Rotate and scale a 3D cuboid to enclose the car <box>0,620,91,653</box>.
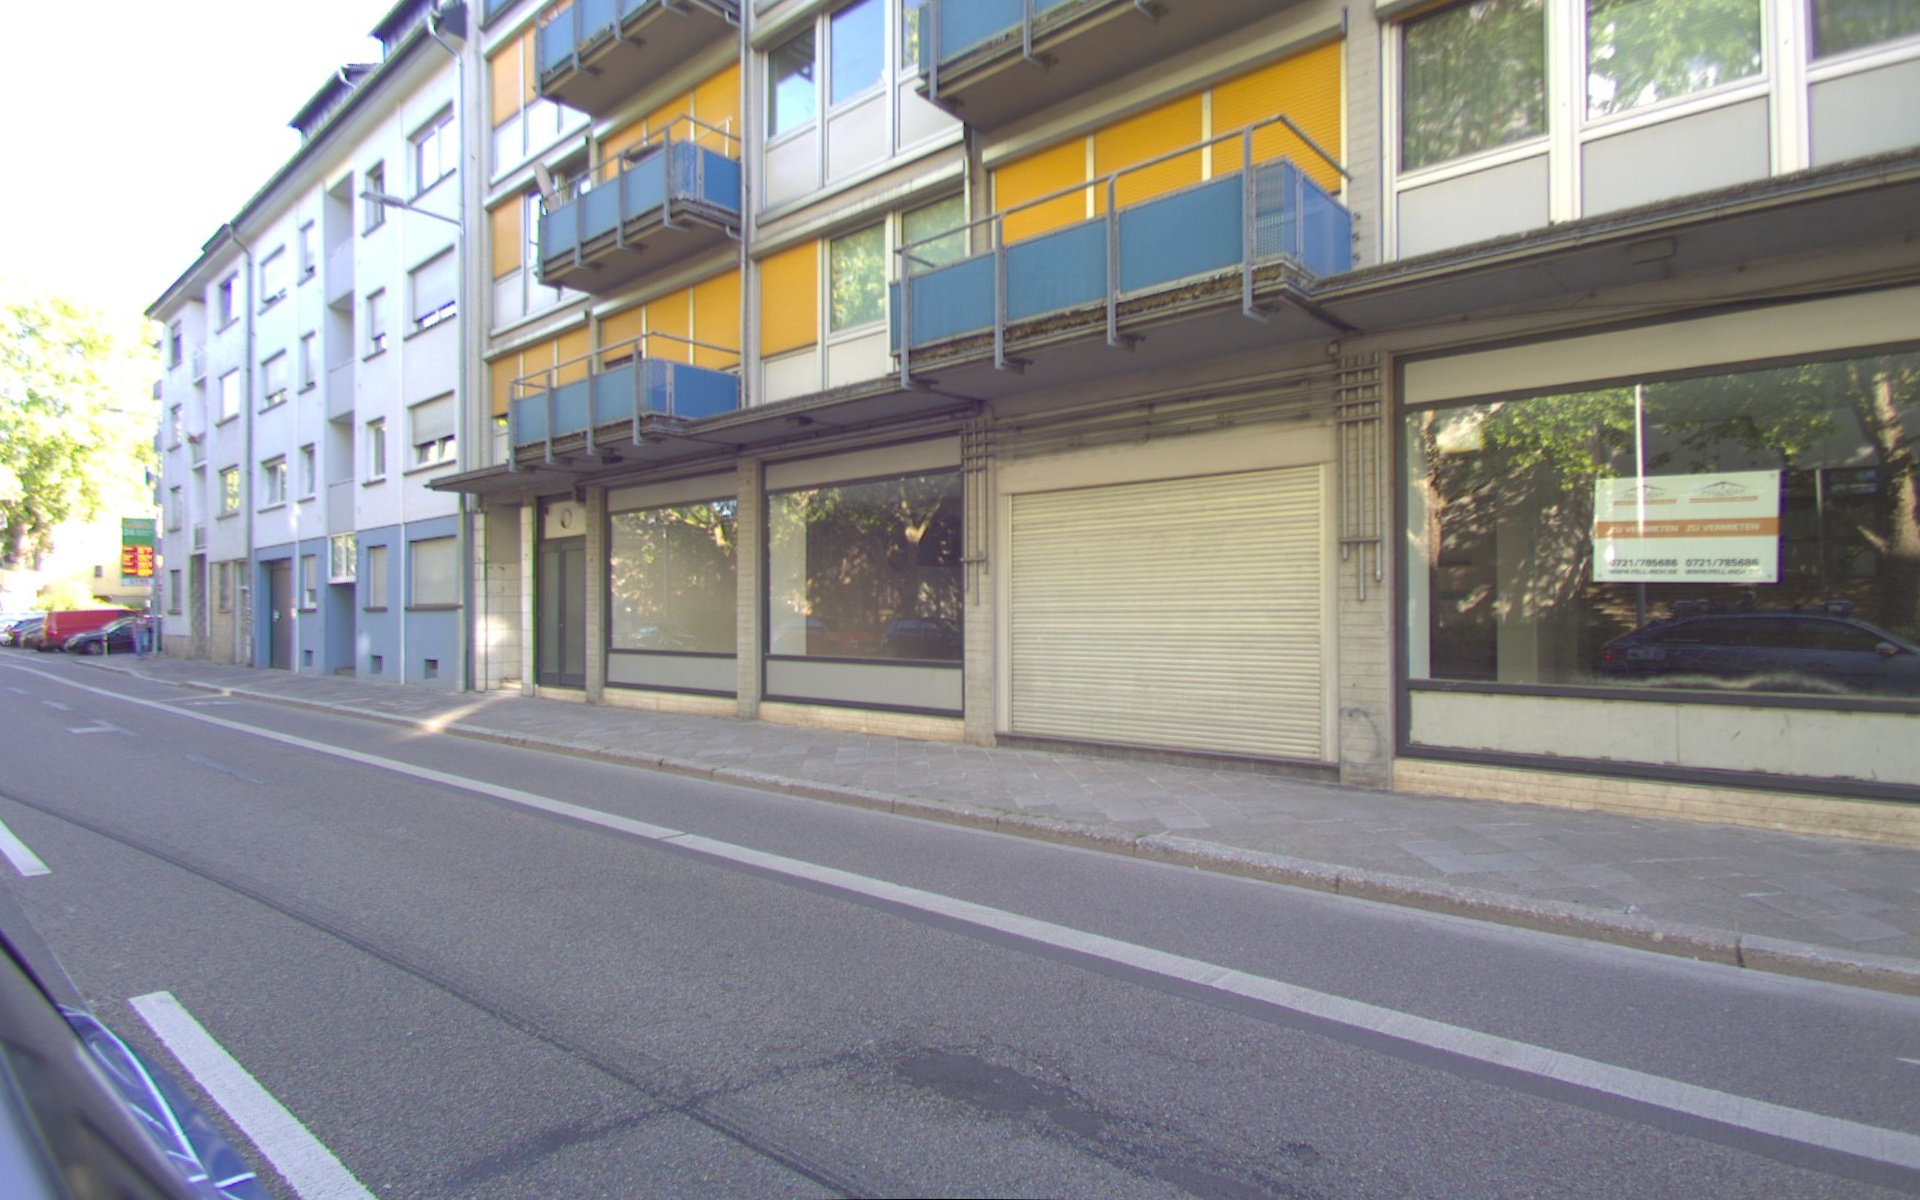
[{"bbox_3d":[-50.831,1.981,55.978,1.699,1.640,3.952,-1,0,35],"label":"car"}]

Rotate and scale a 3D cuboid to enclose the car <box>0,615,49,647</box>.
[{"bbox_3d":[-59.767,1.953,63.845,1.693,1.953,3.224,-1,0,43],"label":"car"}]

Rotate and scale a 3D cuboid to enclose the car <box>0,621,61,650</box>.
[{"bbox_3d":[-55.076,2.068,59.011,1.715,1.594,3.660,-1,0,35],"label":"car"}]

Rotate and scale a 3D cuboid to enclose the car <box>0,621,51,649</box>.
[{"bbox_3d":[-56.896,2.108,60.404,1.740,1.600,3.685,-1,0,35],"label":"car"}]

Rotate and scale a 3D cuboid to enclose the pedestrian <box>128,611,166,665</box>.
[{"bbox_3d":[-27.854,1.290,34.664,0.741,1.785,0.884,-1,0,41],"label":"pedestrian"}]

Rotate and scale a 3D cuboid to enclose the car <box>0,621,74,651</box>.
[{"bbox_3d":[-52.891,2.023,57.482,1.656,1.599,3.615,-1,0,35],"label":"car"}]

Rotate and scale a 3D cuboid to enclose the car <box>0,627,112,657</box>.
[{"bbox_3d":[-43.375,1.980,48.450,1.904,1.282,3.983,-1,0,39],"label":"car"}]

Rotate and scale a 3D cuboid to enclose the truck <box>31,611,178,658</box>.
[{"bbox_3d":[-40.359,1.570,47.846,1.998,2.036,5.024,-1,0,40],"label":"truck"}]

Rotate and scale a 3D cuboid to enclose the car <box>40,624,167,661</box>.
[{"bbox_3d":[-36.937,1.802,43.718,1.780,1.404,3.947,-1,0,39],"label":"car"}]
